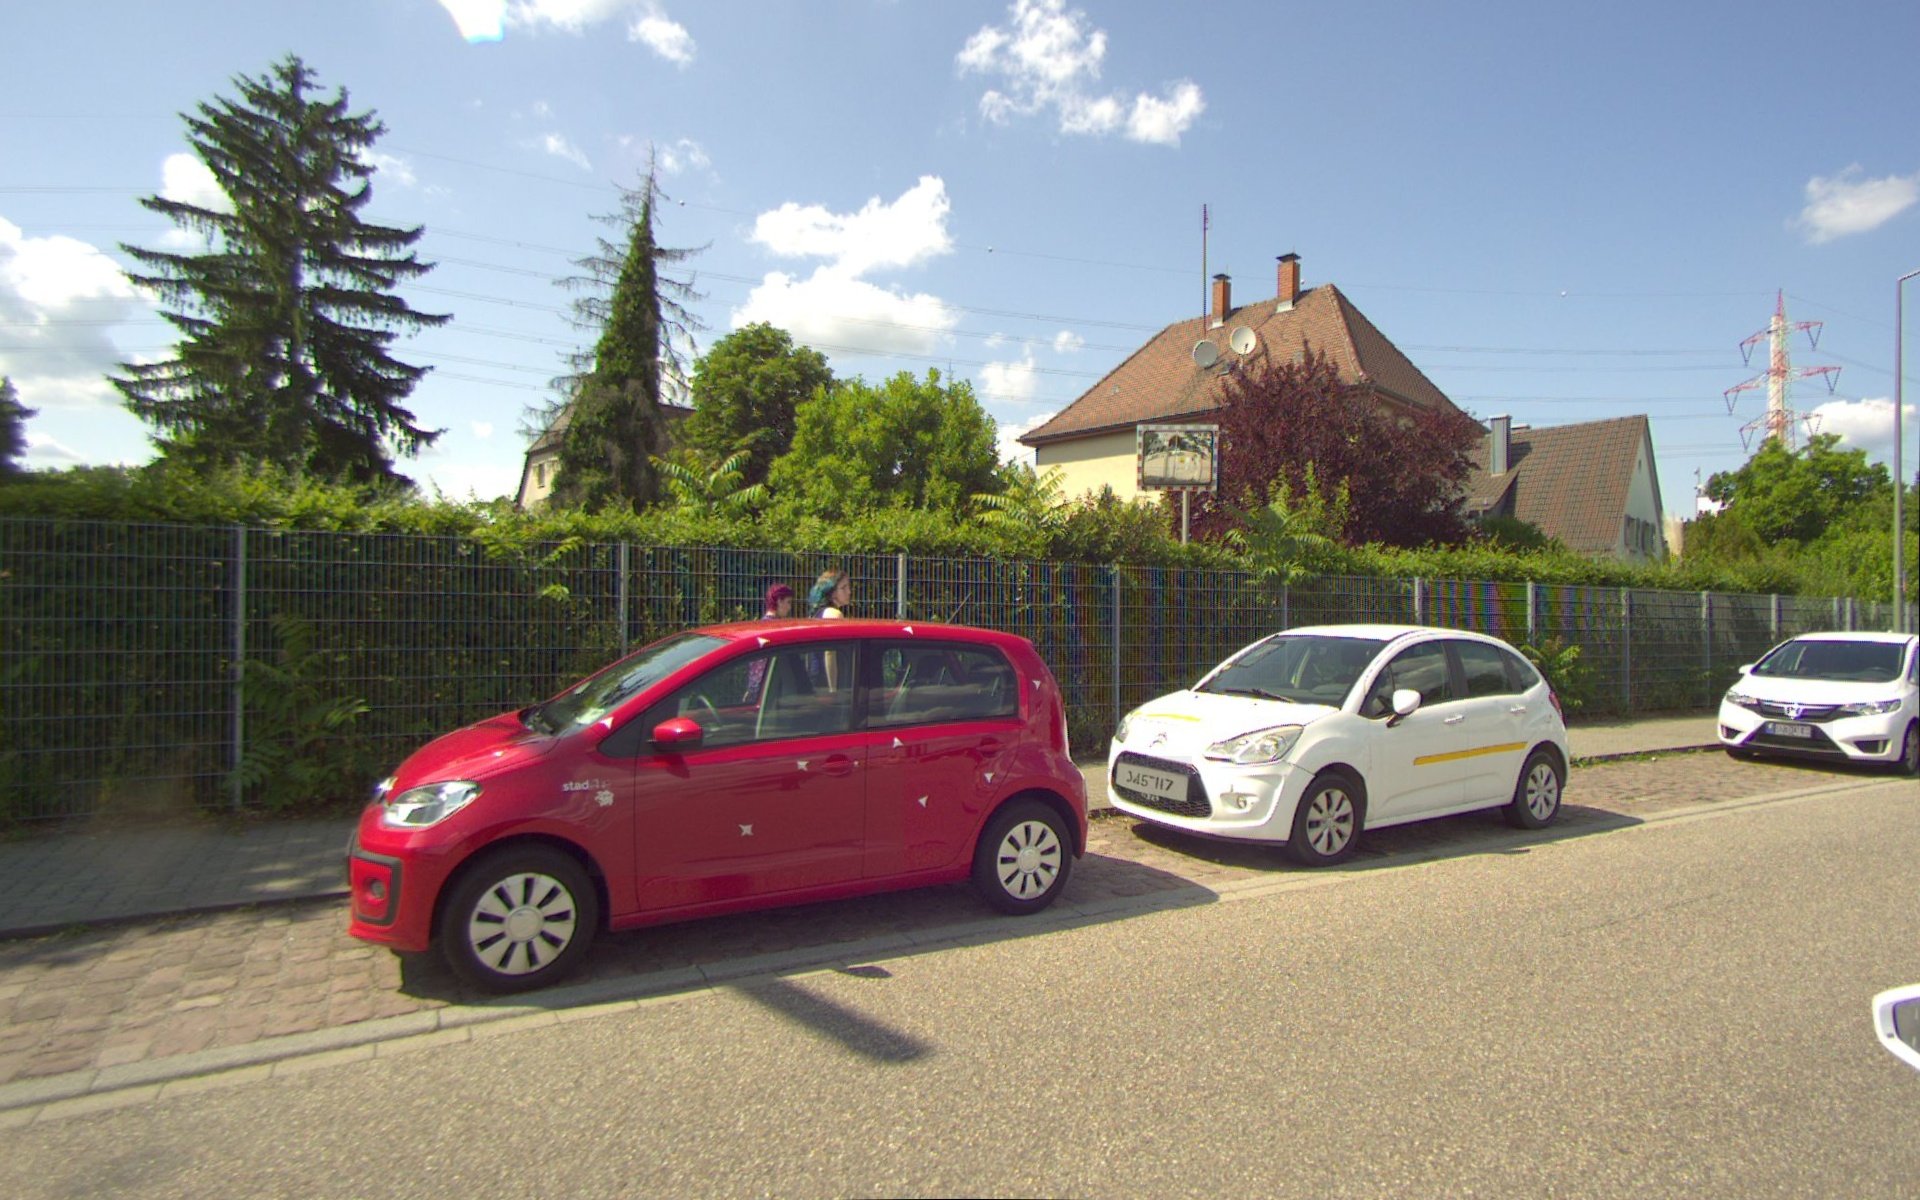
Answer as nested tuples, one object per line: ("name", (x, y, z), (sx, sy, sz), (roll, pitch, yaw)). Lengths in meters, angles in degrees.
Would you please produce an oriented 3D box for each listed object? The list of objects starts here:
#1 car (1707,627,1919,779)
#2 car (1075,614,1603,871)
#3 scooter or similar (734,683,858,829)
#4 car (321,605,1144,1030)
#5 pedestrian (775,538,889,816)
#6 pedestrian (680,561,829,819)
("car", (10.875, 1.123, 12.173), (4.130, 1.542, 1.611), (1, -1, -33))
("car", (2.960, 0.898, 7.613), (3.983, 1.497, 1.637), (2, -1, -31))
("scooter or similar", (-1.116, 1.029, 6.827), (0.702, 0.899, 0.469), (2, -1, -30))
("car", (-1.039, 0.831, 5.215), (3.698, 1.486, 1.659), (2, 0, -29))
("pedestrian", (-0.933, 0.542, 7.312), (0.669, 1.919, 0.448), (2, -1, -30))
("pedestrian", (-1.571, 0.650, 7.646), (0.905, 1.825, 0.705), (2, -1, -30))
